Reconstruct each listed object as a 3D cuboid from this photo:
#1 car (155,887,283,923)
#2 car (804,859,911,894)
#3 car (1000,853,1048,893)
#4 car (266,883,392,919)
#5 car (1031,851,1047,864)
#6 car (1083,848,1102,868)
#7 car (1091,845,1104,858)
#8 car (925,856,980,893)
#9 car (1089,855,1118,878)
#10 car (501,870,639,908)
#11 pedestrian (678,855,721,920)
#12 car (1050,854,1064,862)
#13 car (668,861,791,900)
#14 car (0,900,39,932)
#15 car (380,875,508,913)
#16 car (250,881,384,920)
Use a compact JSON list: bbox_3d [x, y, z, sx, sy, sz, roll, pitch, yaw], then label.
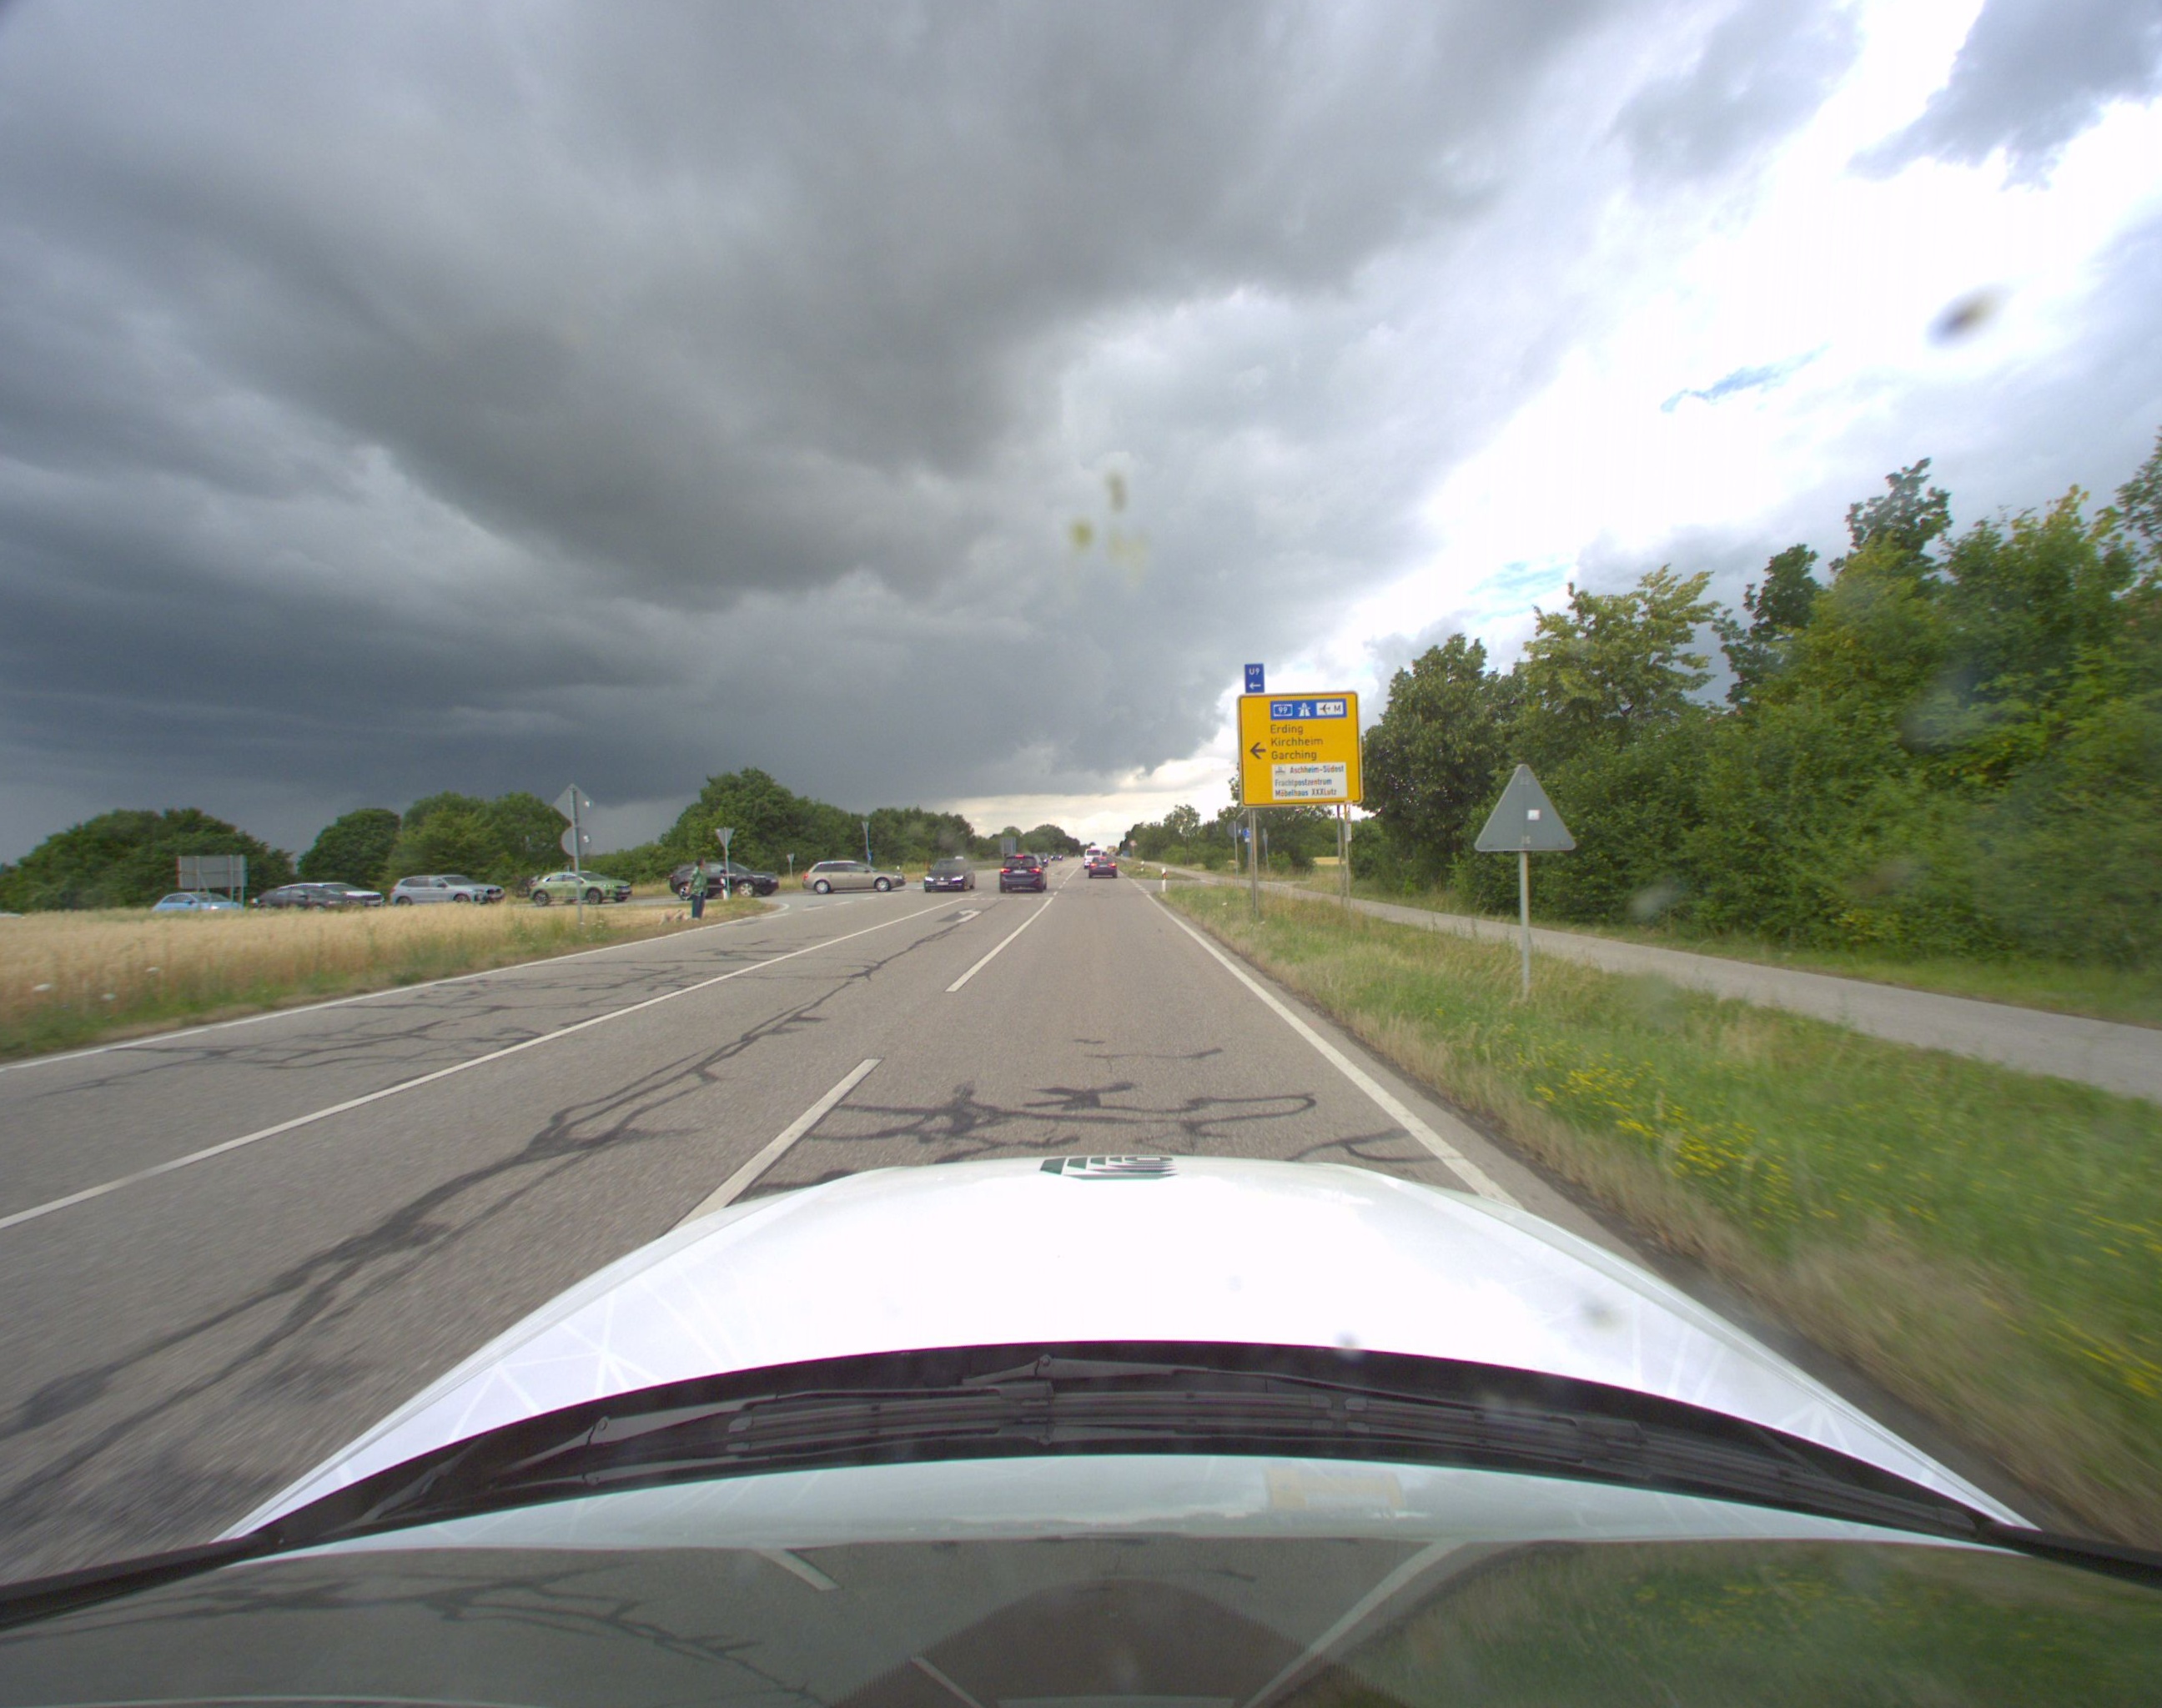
[{"bbox_3d":[-41.530,2.458,39.286,4.467,1.482,1.915,-2,0,7],"label":"car"},{"bbox_3d":[-10.166,1.010,37.308,4.446,1.424,1.906,-2,0,-7],"label":"car"},{"bbox_3d":[-2.379,0.769,34.983,1.696,1.611,4.482,-1,0,0],"label":"car"},{"bbox_3d":[-35.786,2.249,38.817,4.467,1.482,1.915,-2,0,7],"label":"car"},{"bbox_3d":[-5.201,0.455,100.625,1.736,1.530,4.199,0,1,0],"label":"car"},{"bbox_3d":[1.135,0.431,80.023,1.779,1.890,4.000,0,0,1],"label":"car"},{"bbox_3d":[3.269,-0.448,162.235,2.438,2.504,5.043,0,0,1],"label":"car"},{"bbox_3d":[-5.712,0.875,36.580,1.673,1.521,4.397,0,0,1],"label":"car"},{"bbox_3d":[1.453,0.764,52.452,1.779,1.424,4.000,0,0,1],"label":"car"},{"bbox_3d":[-23.370,1.592,37.335,5.256,1.521,1.915,-2,0,7],"label":"car"},{"bbox_3d":[-9.807,0.848,20.956,0.591,1.605,0.865,-4,0,-1],"label":"pedestrian"},{"bbox_3d":[-4.165,0.651,142.302,2.157,1.285,4.237,1,0,0],"label":"car"},{"bbox_3d":[-15.856,1.186,36.822,4.714,1.532,1.915,-2,0,7],"label":"car"},{"bbox_3d":[-54.502,3.105,39.981,4.471,1.482,1.913,-2,0,4],"label":"car"},{"bbox_3d":[-29.492,1.837,37.770,4.599,1.517,1.915,-2,0,7],"label":"car"},{"bbox_3d":[-33.731,2.026,36.018,4.374,1.482,1.915,-2,0,7],"label":"car"}]
